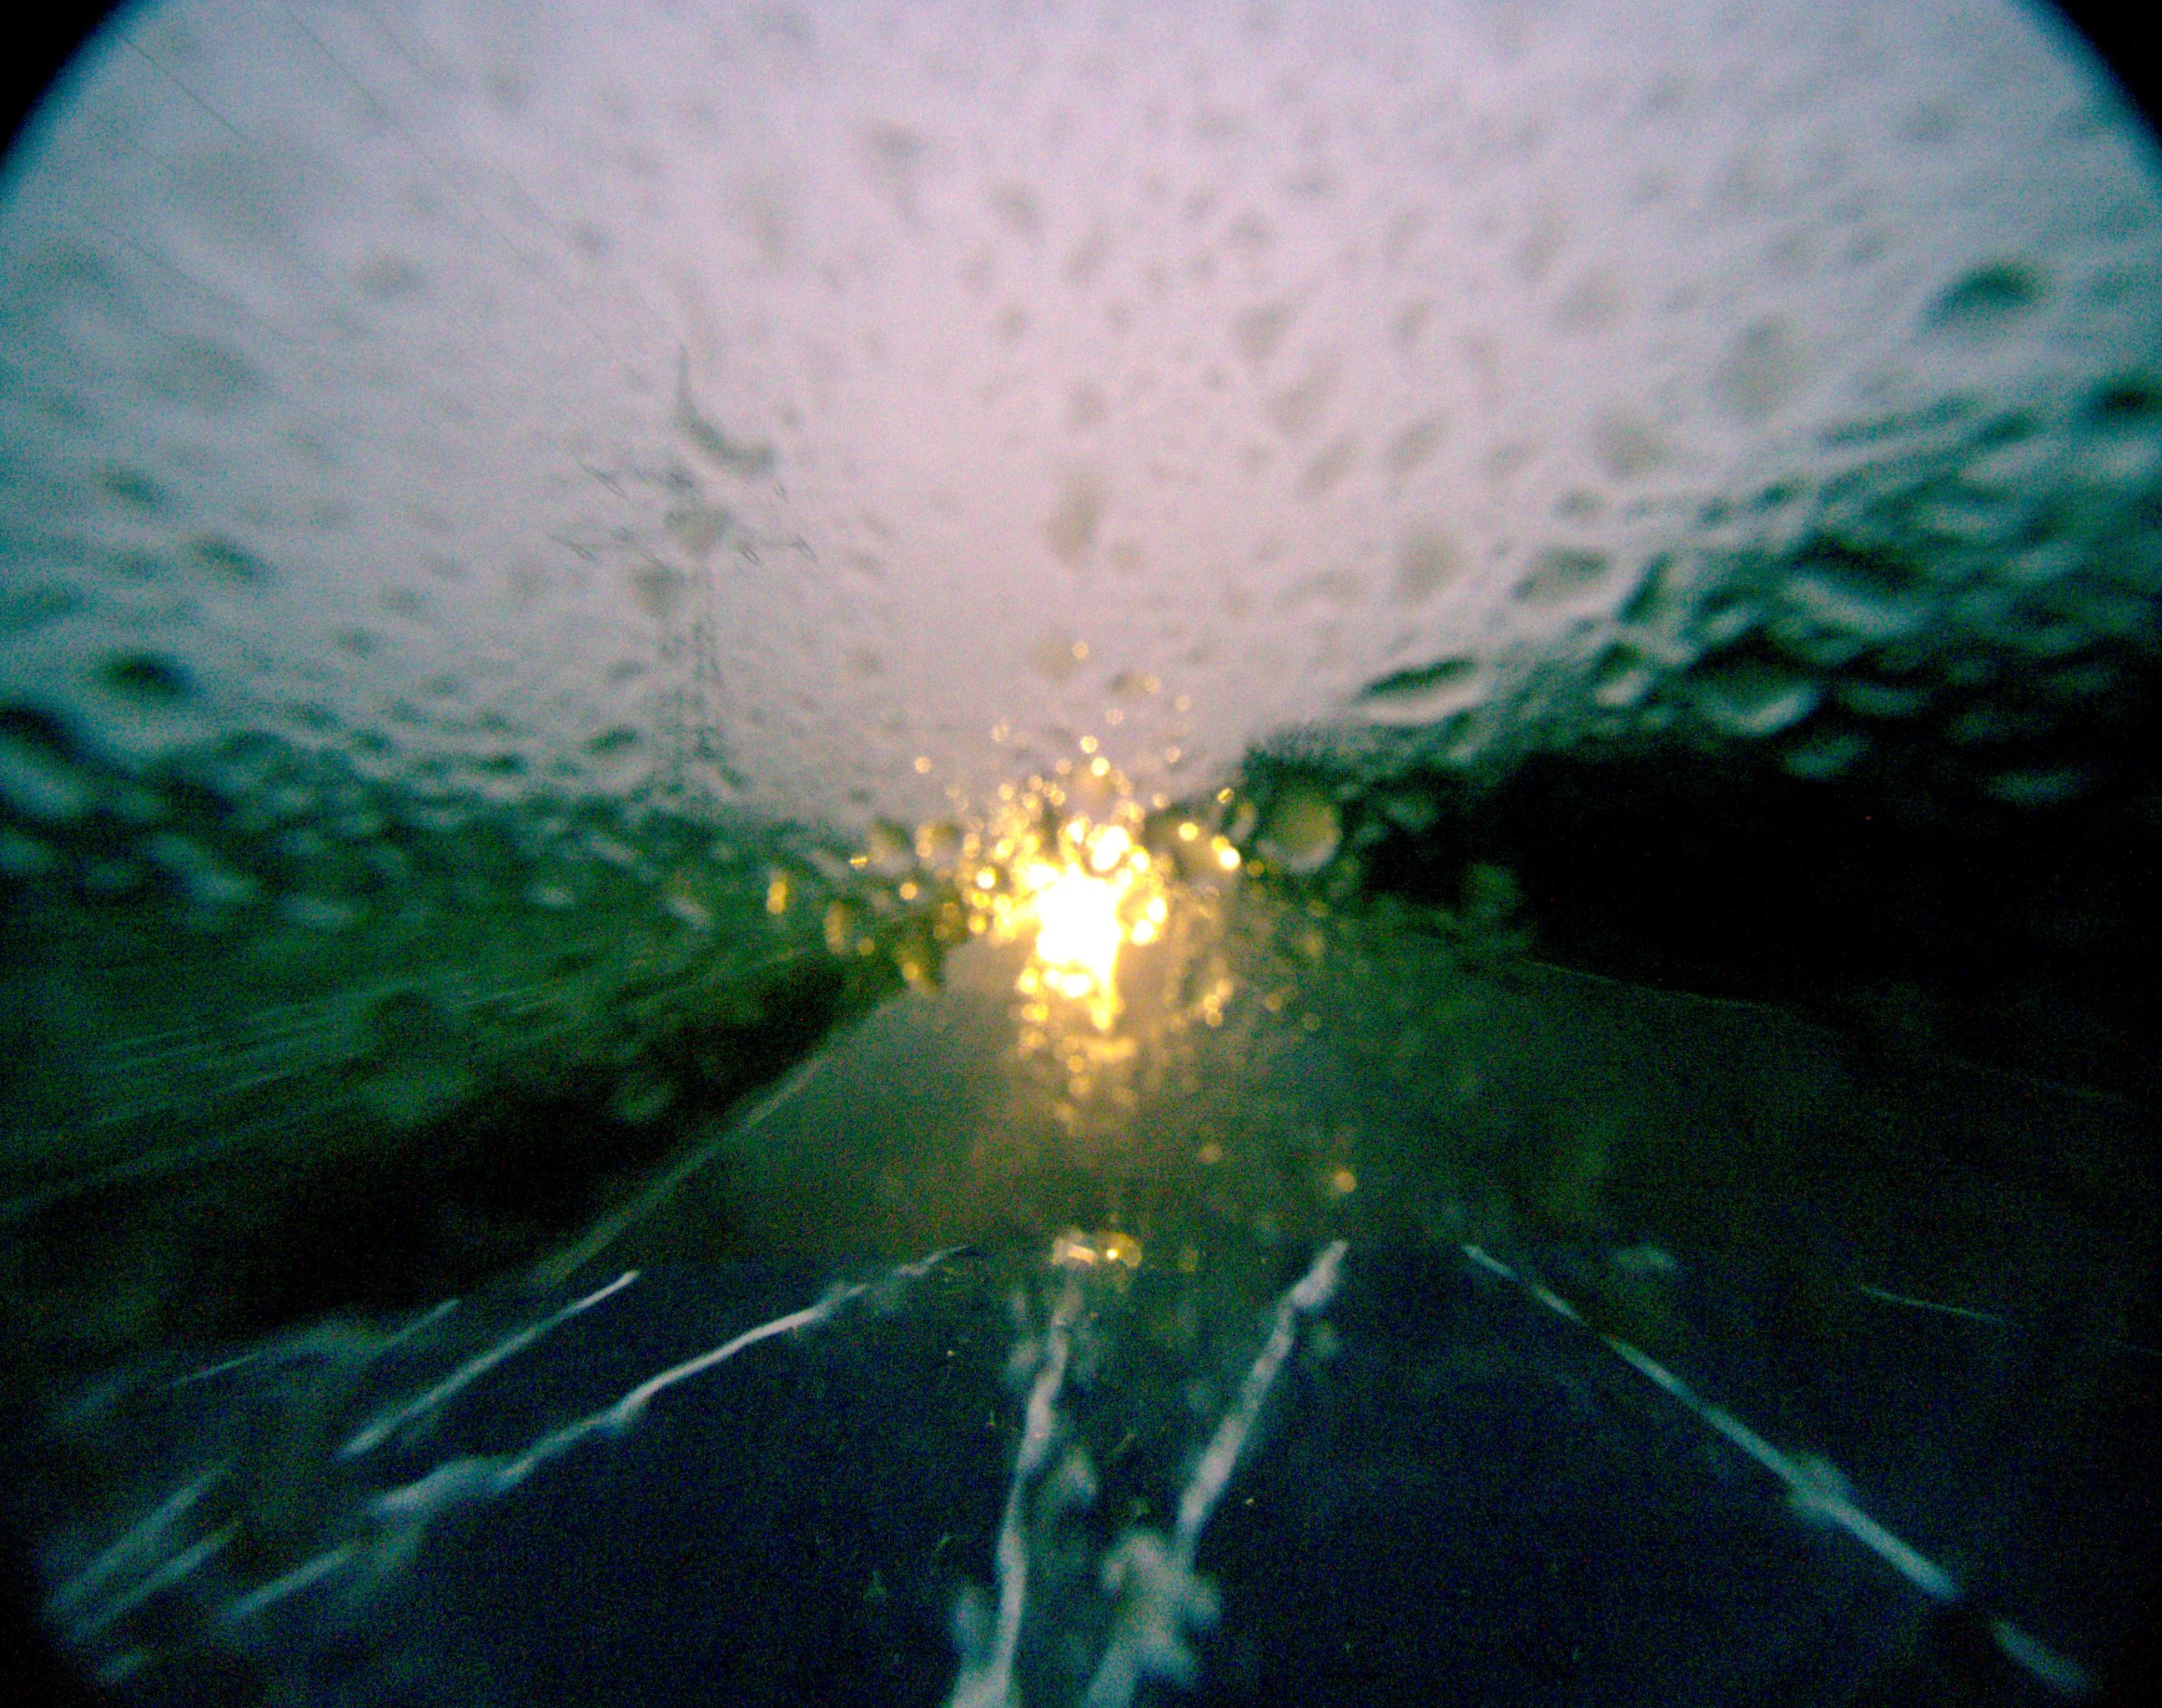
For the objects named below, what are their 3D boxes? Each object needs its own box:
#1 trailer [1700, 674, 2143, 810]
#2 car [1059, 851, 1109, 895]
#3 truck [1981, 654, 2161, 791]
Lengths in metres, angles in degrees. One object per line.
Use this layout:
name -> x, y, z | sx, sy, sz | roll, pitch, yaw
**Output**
trailer -> 26.171, -3.207, 25.106 | 2.442, 2.874, 11.084 | -1, 0, 0
car -> 0.193, 0.751, 31.864 | 1.910, 1.653, 4.000 | -2, 1, 2
truck -> 26.119, -3.186, 18.224 | 2.456, 2.870, 5.583 | -1, 0, 0
